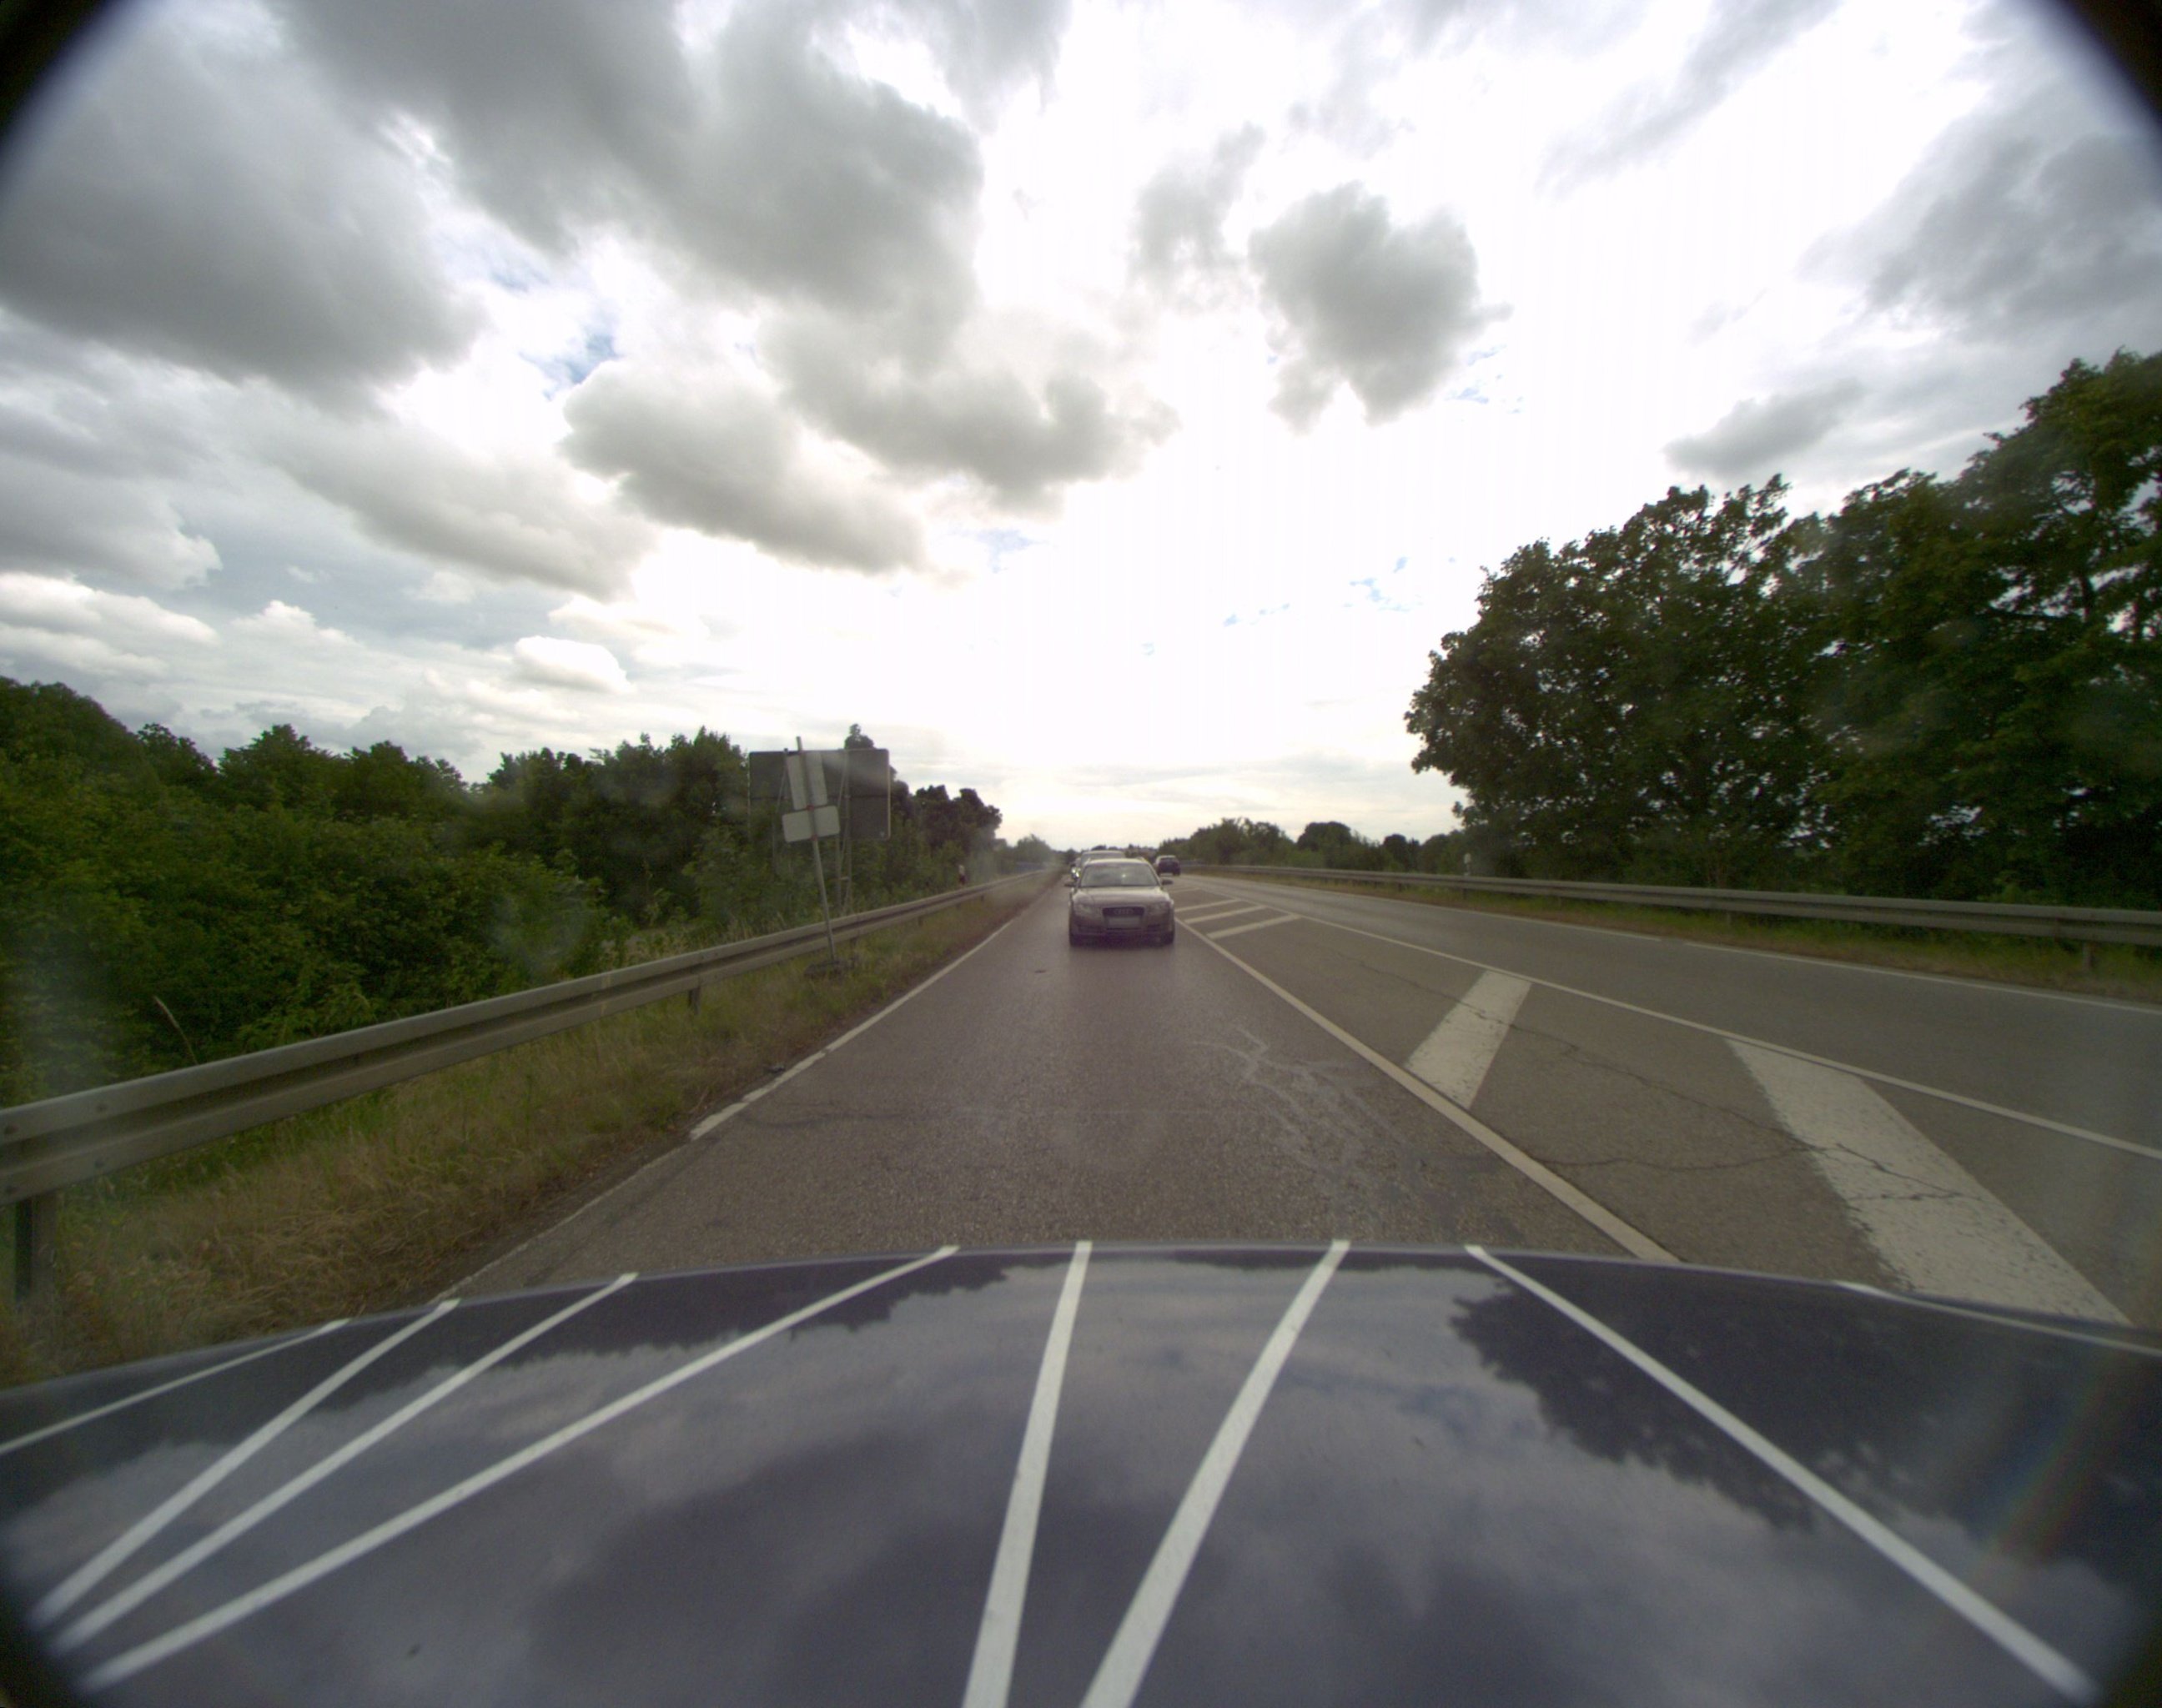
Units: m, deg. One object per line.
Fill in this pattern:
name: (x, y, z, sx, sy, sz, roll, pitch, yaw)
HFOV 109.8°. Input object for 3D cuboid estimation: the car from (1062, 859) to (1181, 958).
car: (0.651, 0.852, 13.723, 1.784, 1.442, 4.034, -1, 0, 1)

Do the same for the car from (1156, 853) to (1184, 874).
car: (7.068, 0.755, 60.582, 1.834, 1.538, 4.034, -1, 0, 1)

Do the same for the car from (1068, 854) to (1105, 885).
car: (0.309, 0.779, 40.183, 1.834, 1.538, 4.034, -1, 0, 1)

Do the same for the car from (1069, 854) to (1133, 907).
car: (0.617, 0.782, 24.522, 1.834, 1.538, 4.034, -1, 0, 1)
